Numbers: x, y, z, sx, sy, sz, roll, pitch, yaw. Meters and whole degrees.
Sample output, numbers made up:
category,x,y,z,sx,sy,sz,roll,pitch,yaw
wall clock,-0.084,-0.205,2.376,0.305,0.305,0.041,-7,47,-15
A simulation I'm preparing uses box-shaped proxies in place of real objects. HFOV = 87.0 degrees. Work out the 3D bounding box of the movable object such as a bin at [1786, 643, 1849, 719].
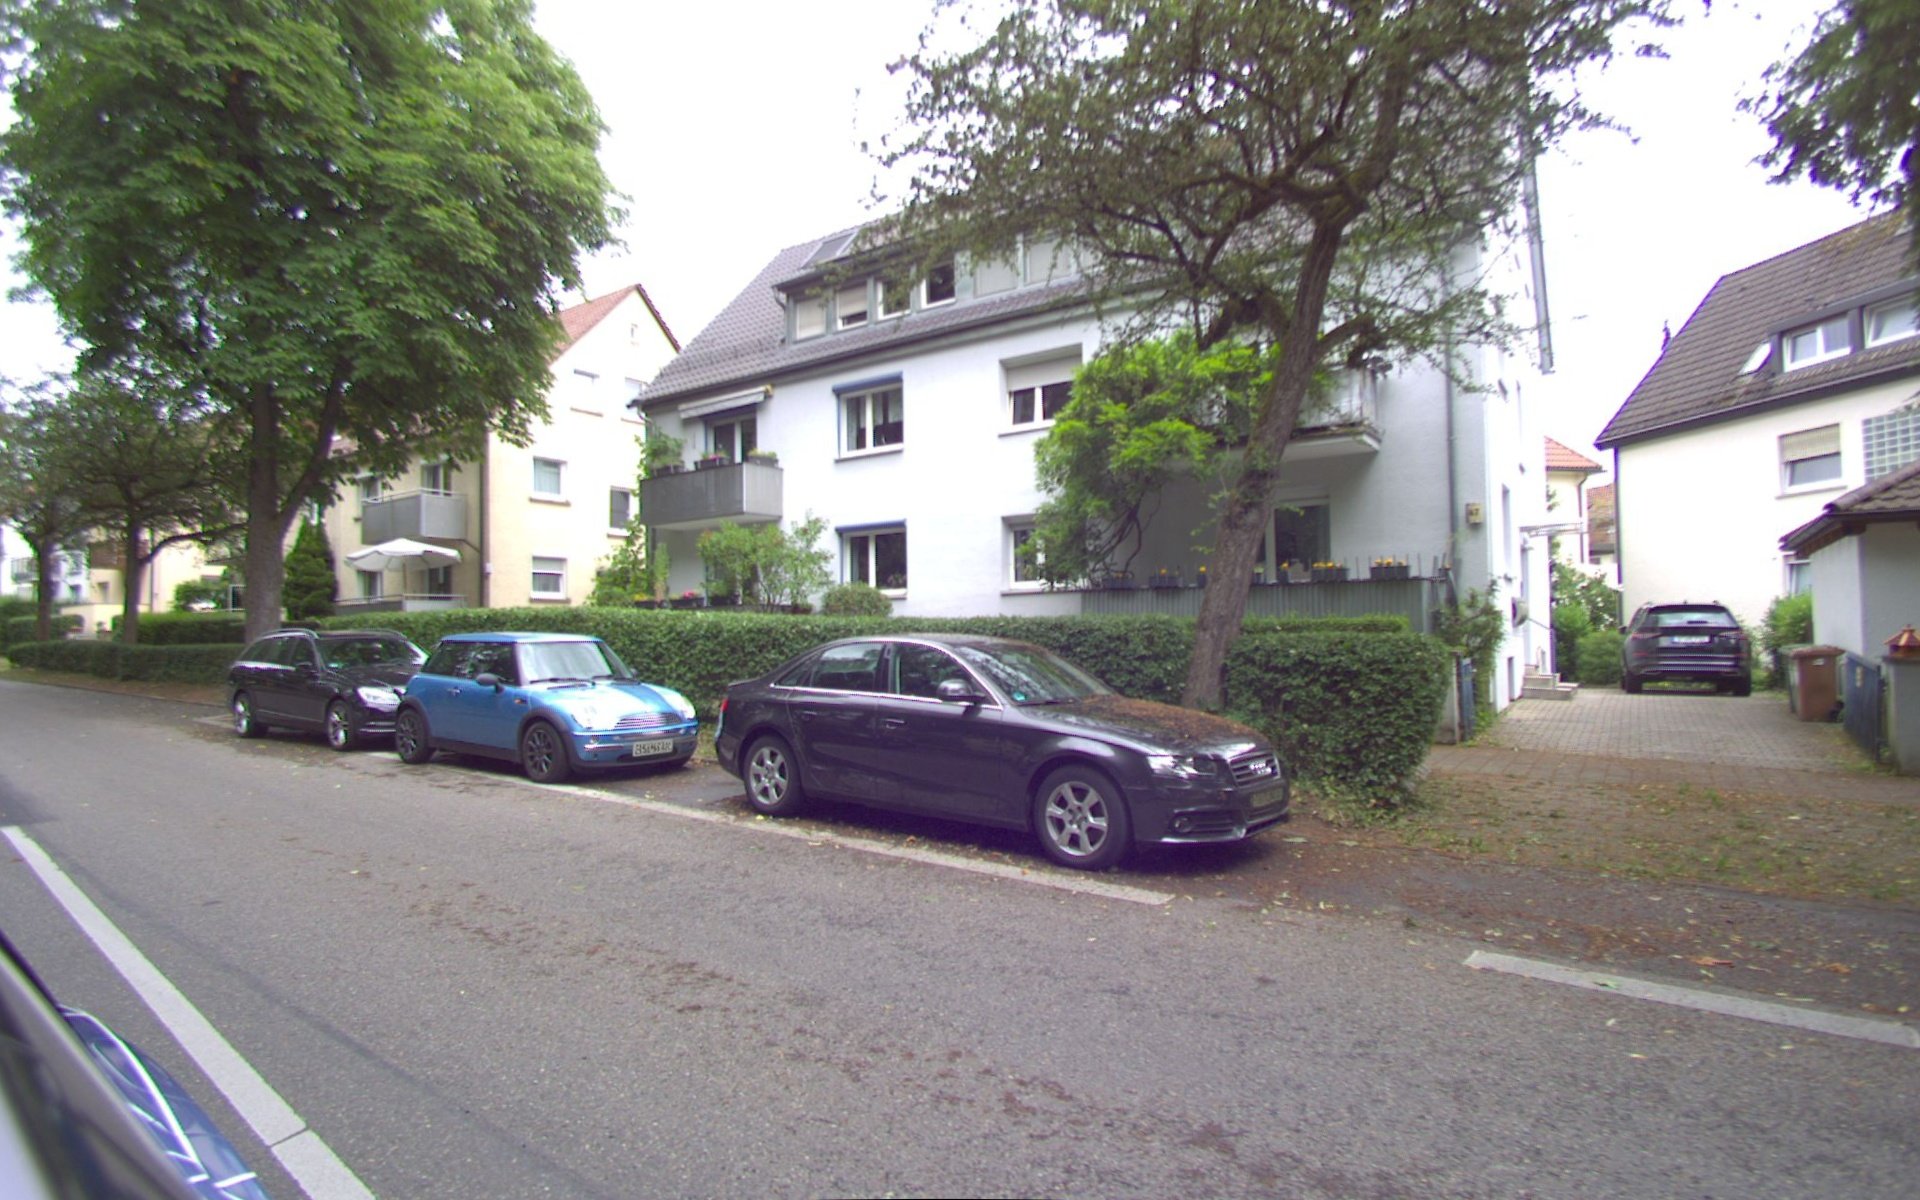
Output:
category,x,y,z,sx,sy,sz,roll,pitch,yaw
movable object such as a bin,11.046,1.029,13.051,0.573,0.929,0.482,-2,-1,39

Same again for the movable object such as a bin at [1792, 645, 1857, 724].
category,x,y,z,sx,sy,sz,roll,pitch,yaw
movable object such as a bin,10.760,1.035,12.617,0.573,0.929,0.482,-2,-1,39

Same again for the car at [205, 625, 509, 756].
category,x,y,z,sx,sy,sz,roll,pitch,yaw
car,-8.105,1.105,13.483,4.407,1.483,1.779,-1,-3,35

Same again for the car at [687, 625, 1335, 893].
category,x,y,z,sx,sy,sz,roll,pitch,yaw
car,0.151,0.928,7.526,4.638,1.421,1.777,-2,-3,38

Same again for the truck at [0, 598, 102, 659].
category,x,y,z,sx,sy,sz,roll,pitch,yaw
truck,-50.214,1.520,54.373,2.511,3.155,5.749,-2,-2,33

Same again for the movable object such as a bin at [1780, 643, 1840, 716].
category,x,y,z,sx,sy,sz,roll,pitch,yaw
movable object such as a bin,11.329,1.048,13.494,0.573,0.929,0.482,-2,-1,39

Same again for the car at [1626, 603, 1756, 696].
category,x,y,z,sx,sy,sz,roll,pitch,yaw
car,13.267,0.827,18.547,1.730,1.522,3.954,-1,-1,34

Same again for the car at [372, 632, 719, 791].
category,x,y,z,sx,sy,sz,roll,pitch,yaw
car,-4.447,1.056,10.718,3.698,1.402,1.650,-1,-3,35
